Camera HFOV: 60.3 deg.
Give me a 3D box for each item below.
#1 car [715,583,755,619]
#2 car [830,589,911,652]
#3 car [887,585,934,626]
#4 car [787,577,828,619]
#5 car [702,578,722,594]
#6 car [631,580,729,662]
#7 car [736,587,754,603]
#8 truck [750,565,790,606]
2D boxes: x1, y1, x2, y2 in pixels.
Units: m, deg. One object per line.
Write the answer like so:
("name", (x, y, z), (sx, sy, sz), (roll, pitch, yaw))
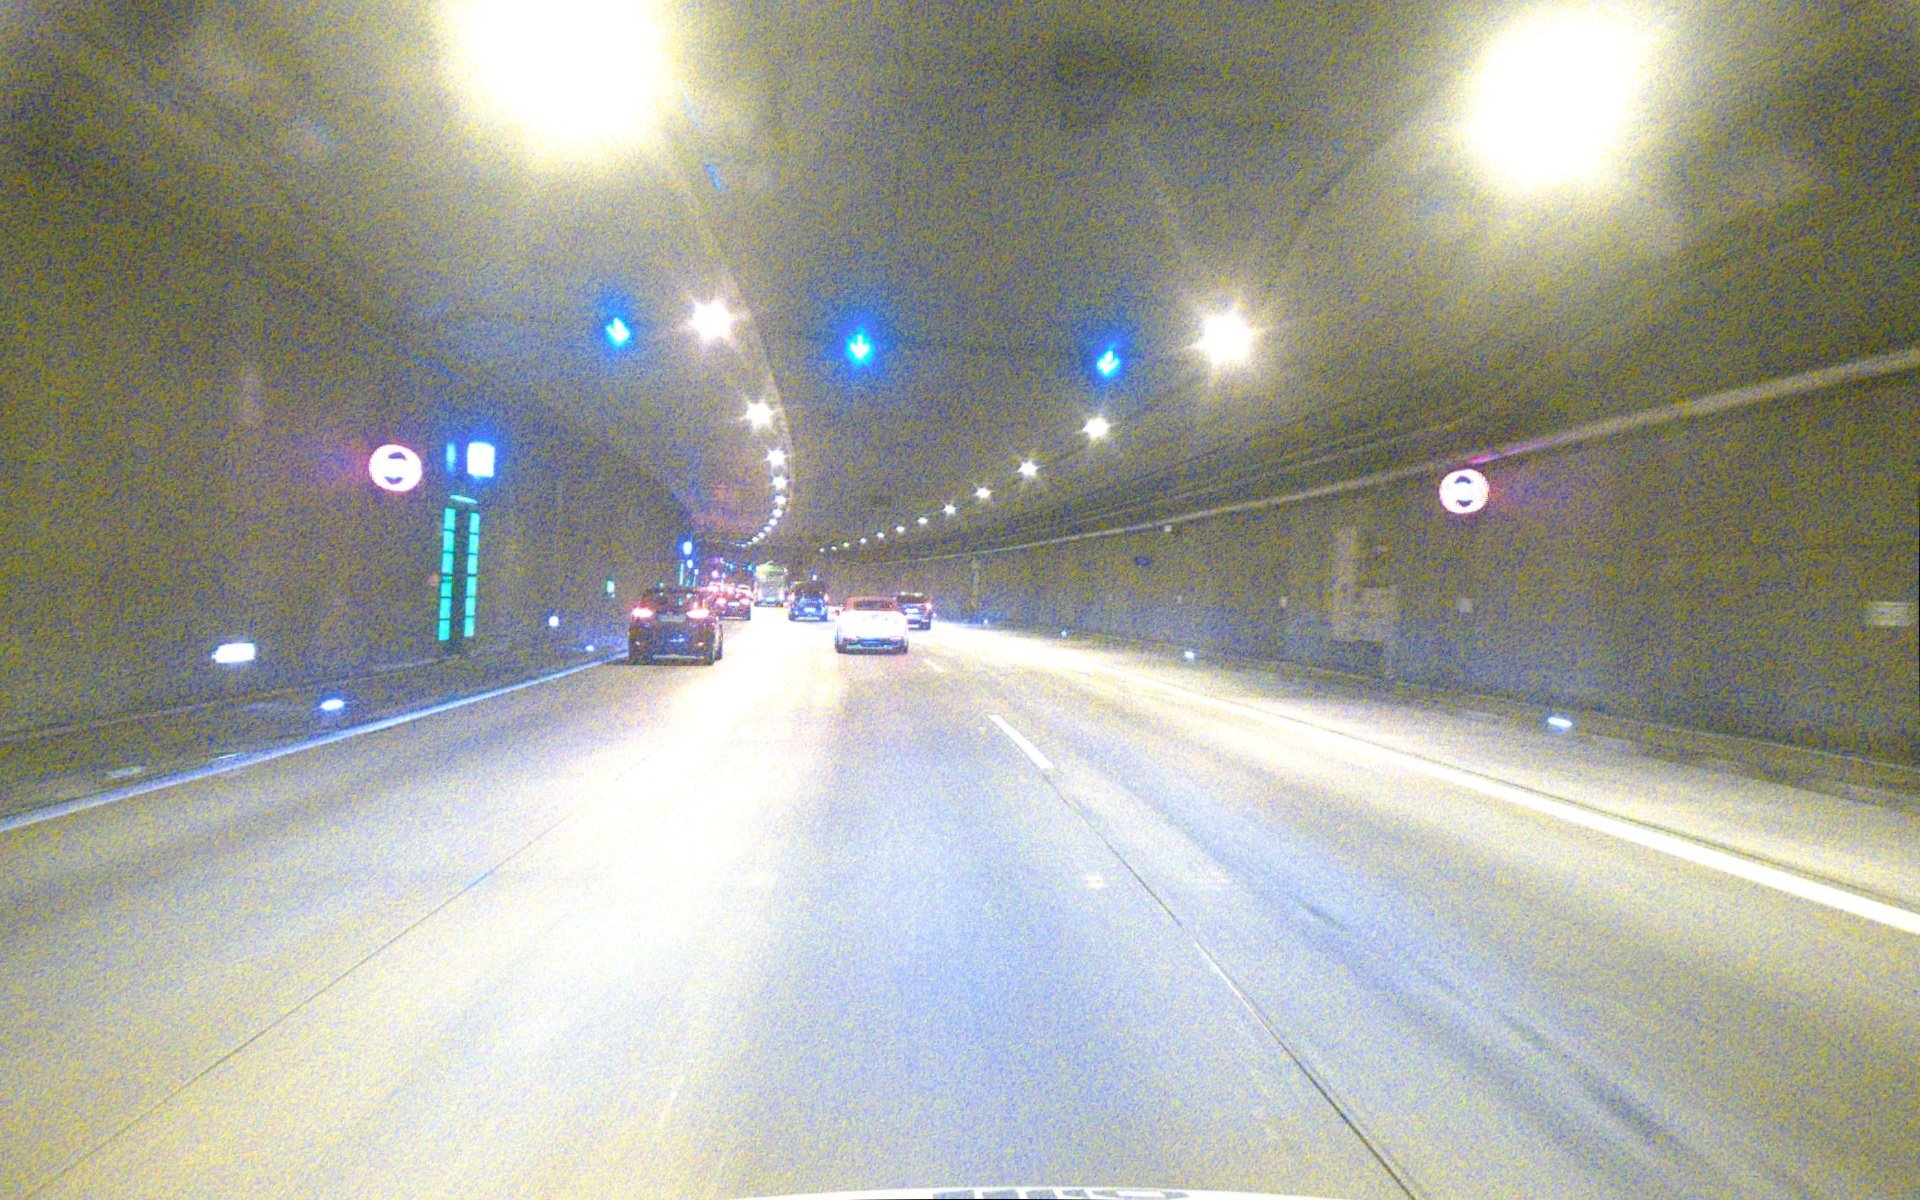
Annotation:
("car", (-11.162, 0.048, 82.373), (1.765, 1.713, 3.996), (1, 0, -5))
("car", (-2.308, 0.490, 42.485), (1.954, 1.509, 3.997), (1, 0, -4))
("car", (-2.073, 0.232, 68.468), (1.803, 1.630, 3.997), (1, 0, -4))
("car", (-7.590, -0.095, 82.252), (1.955, 2.006, 3.995), (1, 0, -5))
("car", (-26.111, -1.489, 174.112), (1.956, 1.557, 3.993), (2, 0, -8))
("car", (-5.862, 0.413, 34.952), (1.751, 1.626, 3.797), (1, 0, -6))
("car", (-24.357, -0.532, 187.427), (1.955, 1.785, 3.994), (2, 0, -7))
("truck", (-15.647, -1.268, 135.892), (3.024, 3.167, 10.014), (2, 1, -7))
